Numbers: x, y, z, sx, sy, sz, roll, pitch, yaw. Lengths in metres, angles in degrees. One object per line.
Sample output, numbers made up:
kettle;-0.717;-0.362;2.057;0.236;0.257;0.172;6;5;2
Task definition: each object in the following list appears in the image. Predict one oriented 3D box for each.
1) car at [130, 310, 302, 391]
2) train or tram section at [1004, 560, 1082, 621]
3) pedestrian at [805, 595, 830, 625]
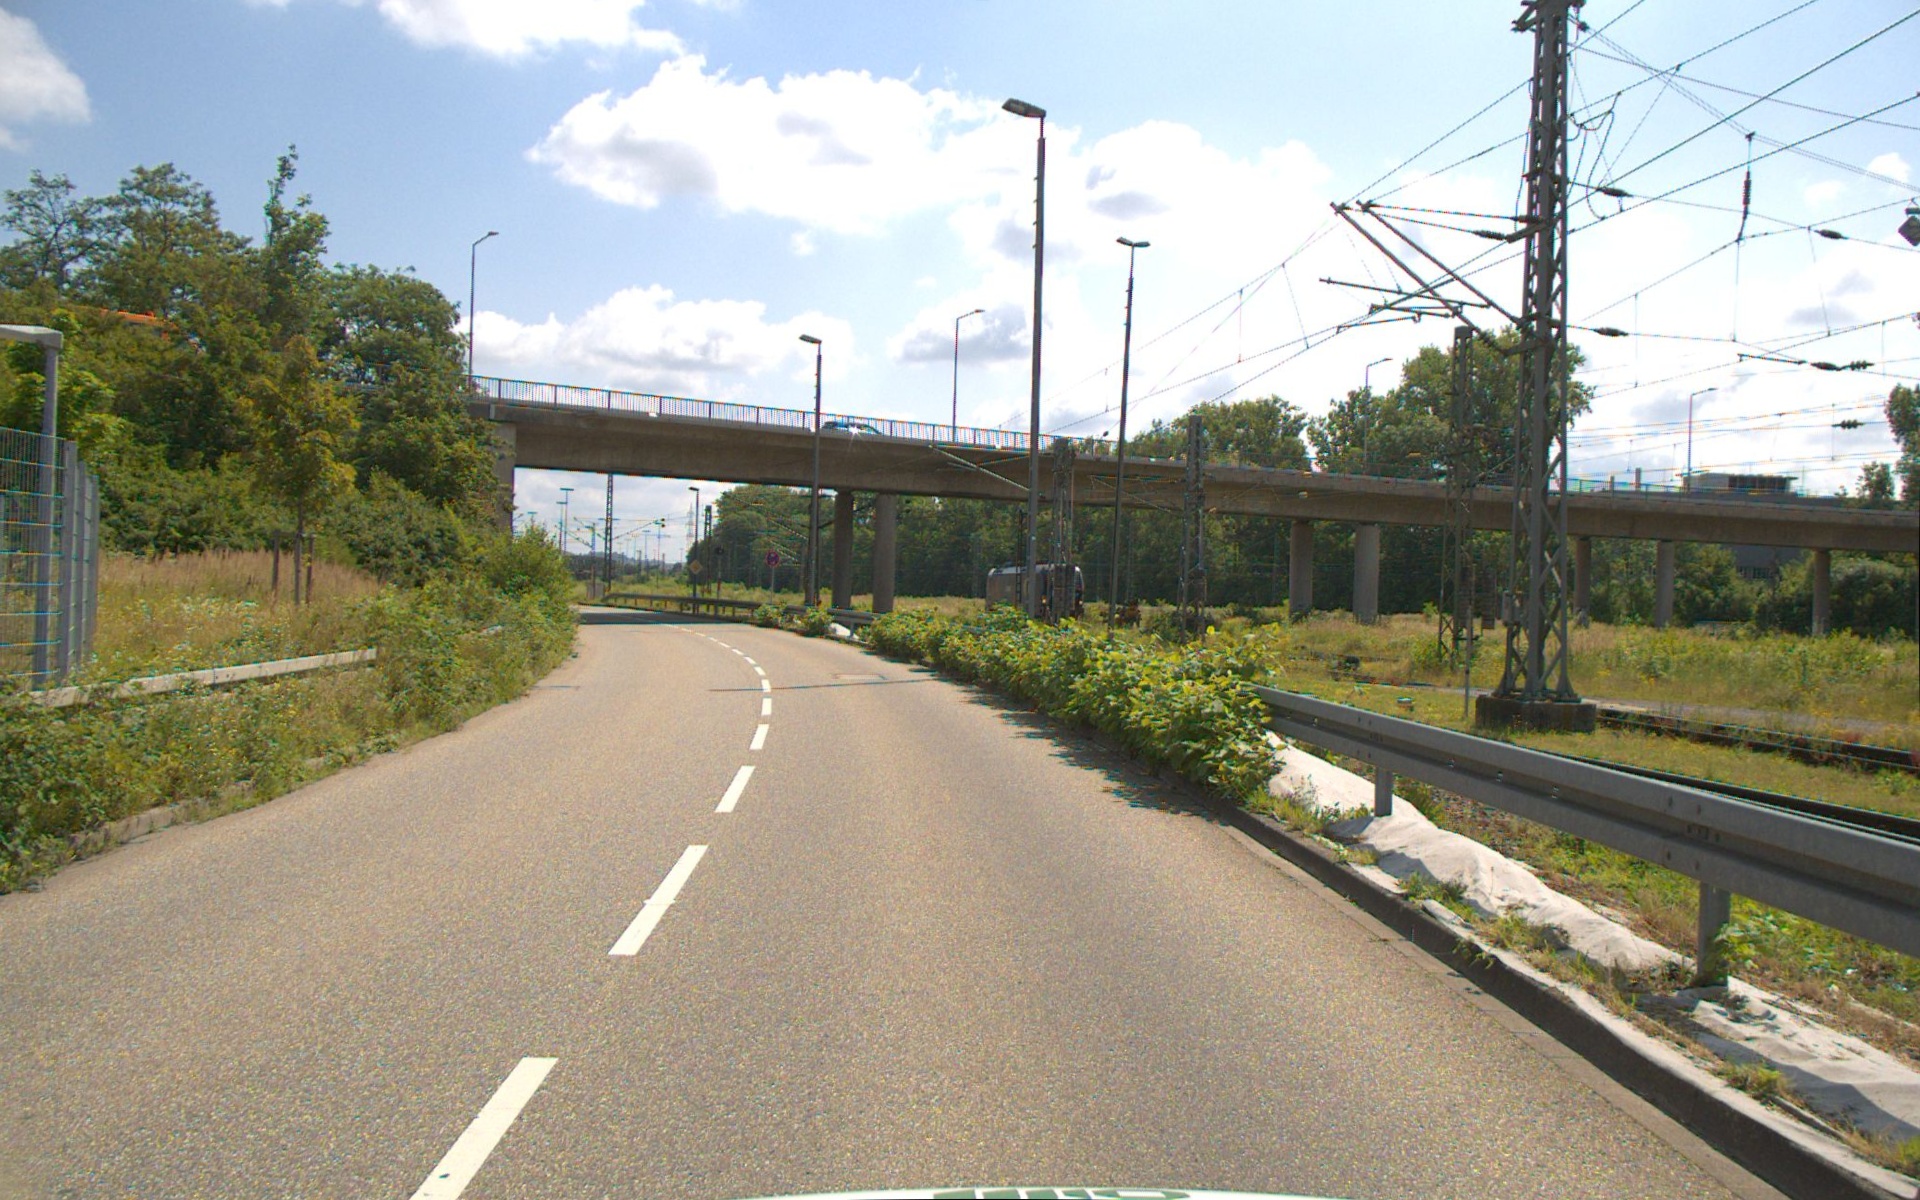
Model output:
car;-26.379;-8.804;58.800;1.963;2.049;5.308;-1;-1;40
train or tram section;5.084;-0.555;102.928;2.839;3.570;8.542;1;0;-11
pedestrian;-7.772;0.534;90.136;1.091;1.567;1.574;2;-1;-14
